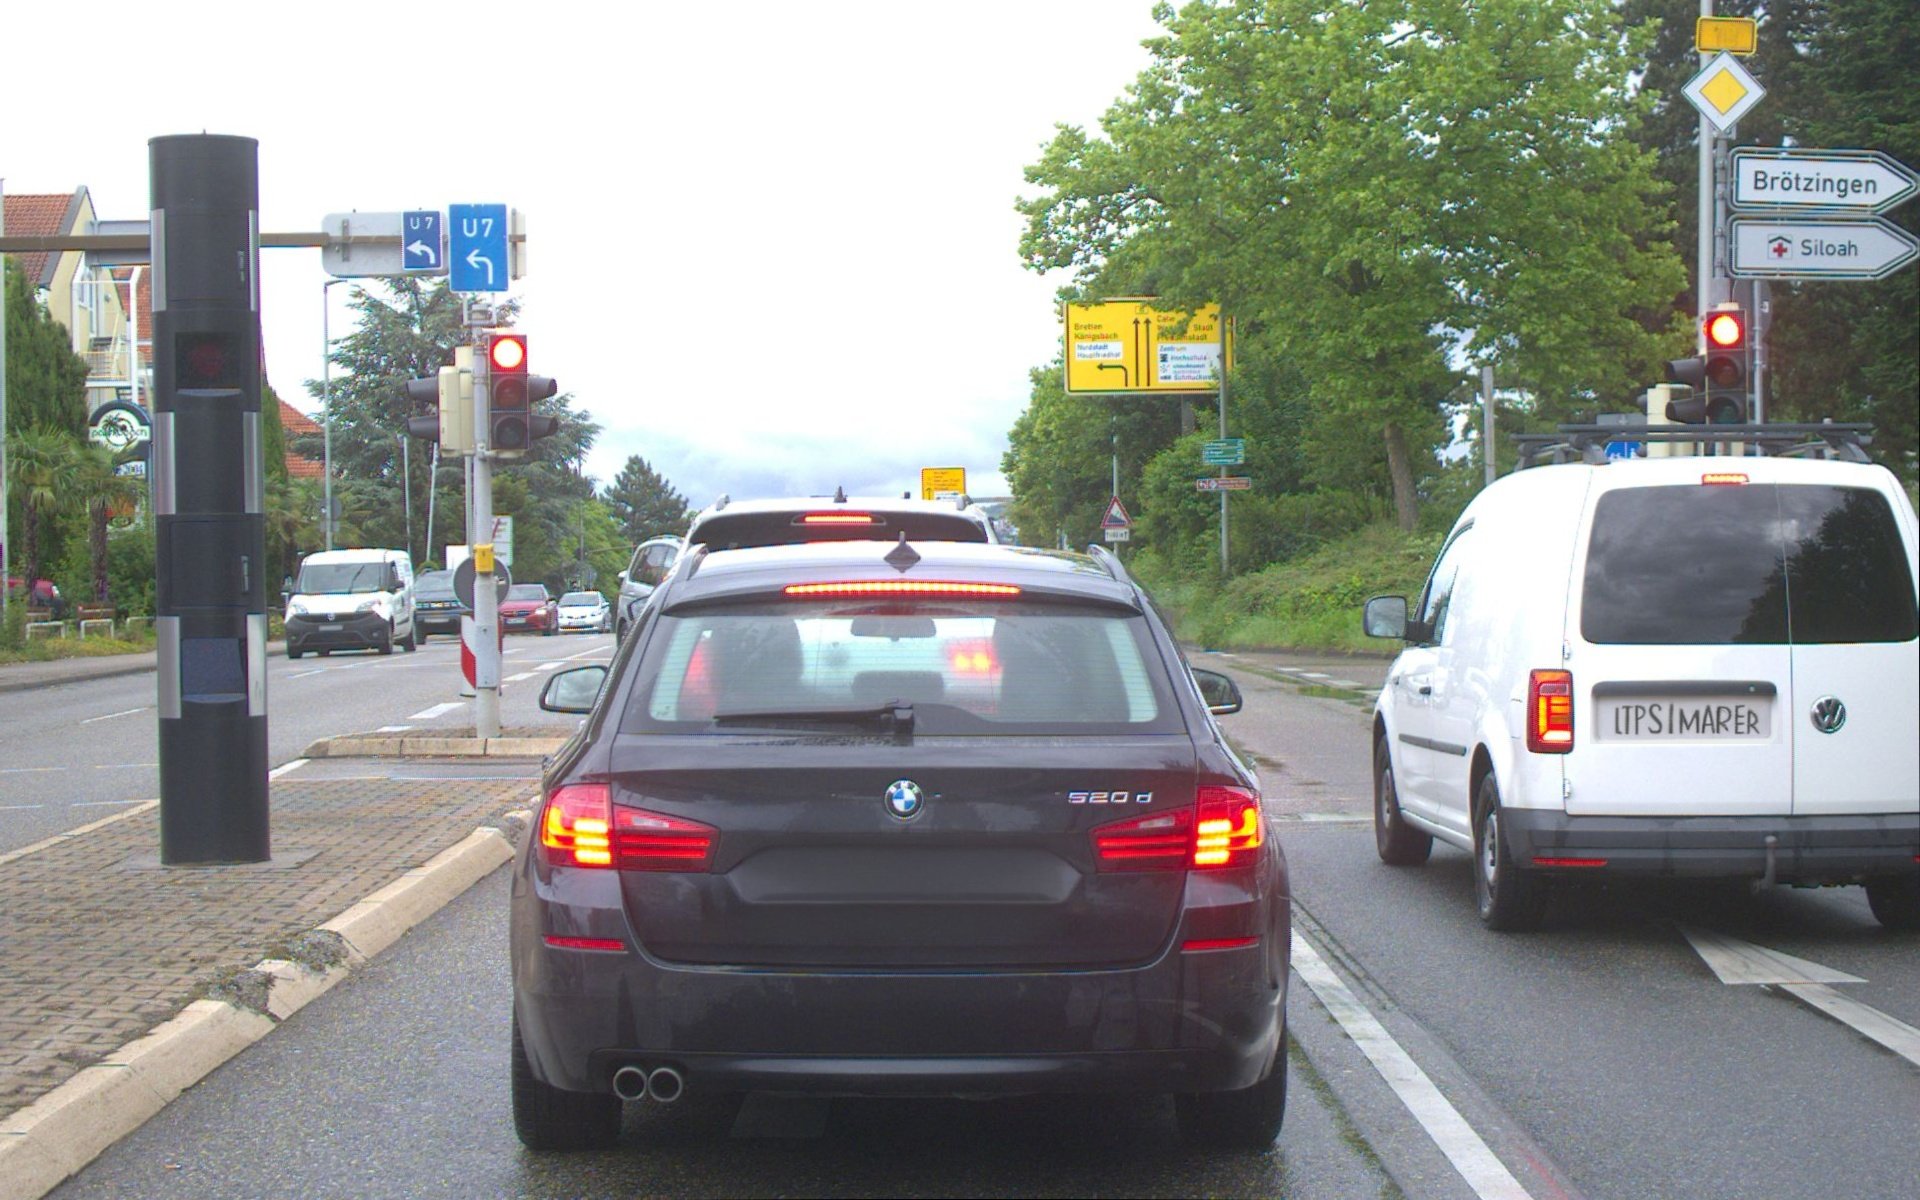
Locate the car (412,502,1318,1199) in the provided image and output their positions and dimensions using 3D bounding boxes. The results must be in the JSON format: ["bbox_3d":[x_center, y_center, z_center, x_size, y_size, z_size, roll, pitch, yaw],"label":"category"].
[{"bbox_3d":[-0.125,0.490,9.043,1.855,1.414,3.957,1,3,2],"label":"car"}]

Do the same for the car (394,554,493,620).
[{"bbox_3d":[-11.225,-0.303,74.869,1.668,1.349,3.443,-1,1,-1],"label":"car"}]

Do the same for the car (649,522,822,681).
[{"bbox_3d":[-2.506,-0.010,39.117,1.734,1.686,4.000,-1,1,-1],"label":"car"}]

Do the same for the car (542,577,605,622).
[{"bbox_3d":[-12.370,-0.022,110.265,1.668,1.349,3.443,-1,1,-1],"label":"car"}]

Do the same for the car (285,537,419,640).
[{"bbox_3d":[-10.424,-0.221,59.113,1.668,1.664,3.683,-1,1,-1],"label":"car"}]

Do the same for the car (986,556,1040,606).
[{"bbox_3d":[1.646,-0.598,105.654,1.600,1.367,3.680,-1,3,1],"label":"car"}]

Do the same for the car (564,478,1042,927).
[{"bbox_3d":[-0.568,0.351,14.905,1.728,1.705,3.382,1,1,3],"label":"car"}]

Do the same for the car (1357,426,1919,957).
[{"bbox_3d":[2.784,0.296,14.121,1.741,1.863,3.946,0,1,-1],"label":"car"}]

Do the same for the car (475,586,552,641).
[{"bbox_3d":[-12.036,0.358,92.866,1.668,1.349,3.443,-1,1,-1],"label":"car"}]

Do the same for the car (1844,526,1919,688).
[{"bbox_3d":[10.523,0.024,32.005,4.083,1.451,1.901,-1,1,-1],"label":"car"}]
